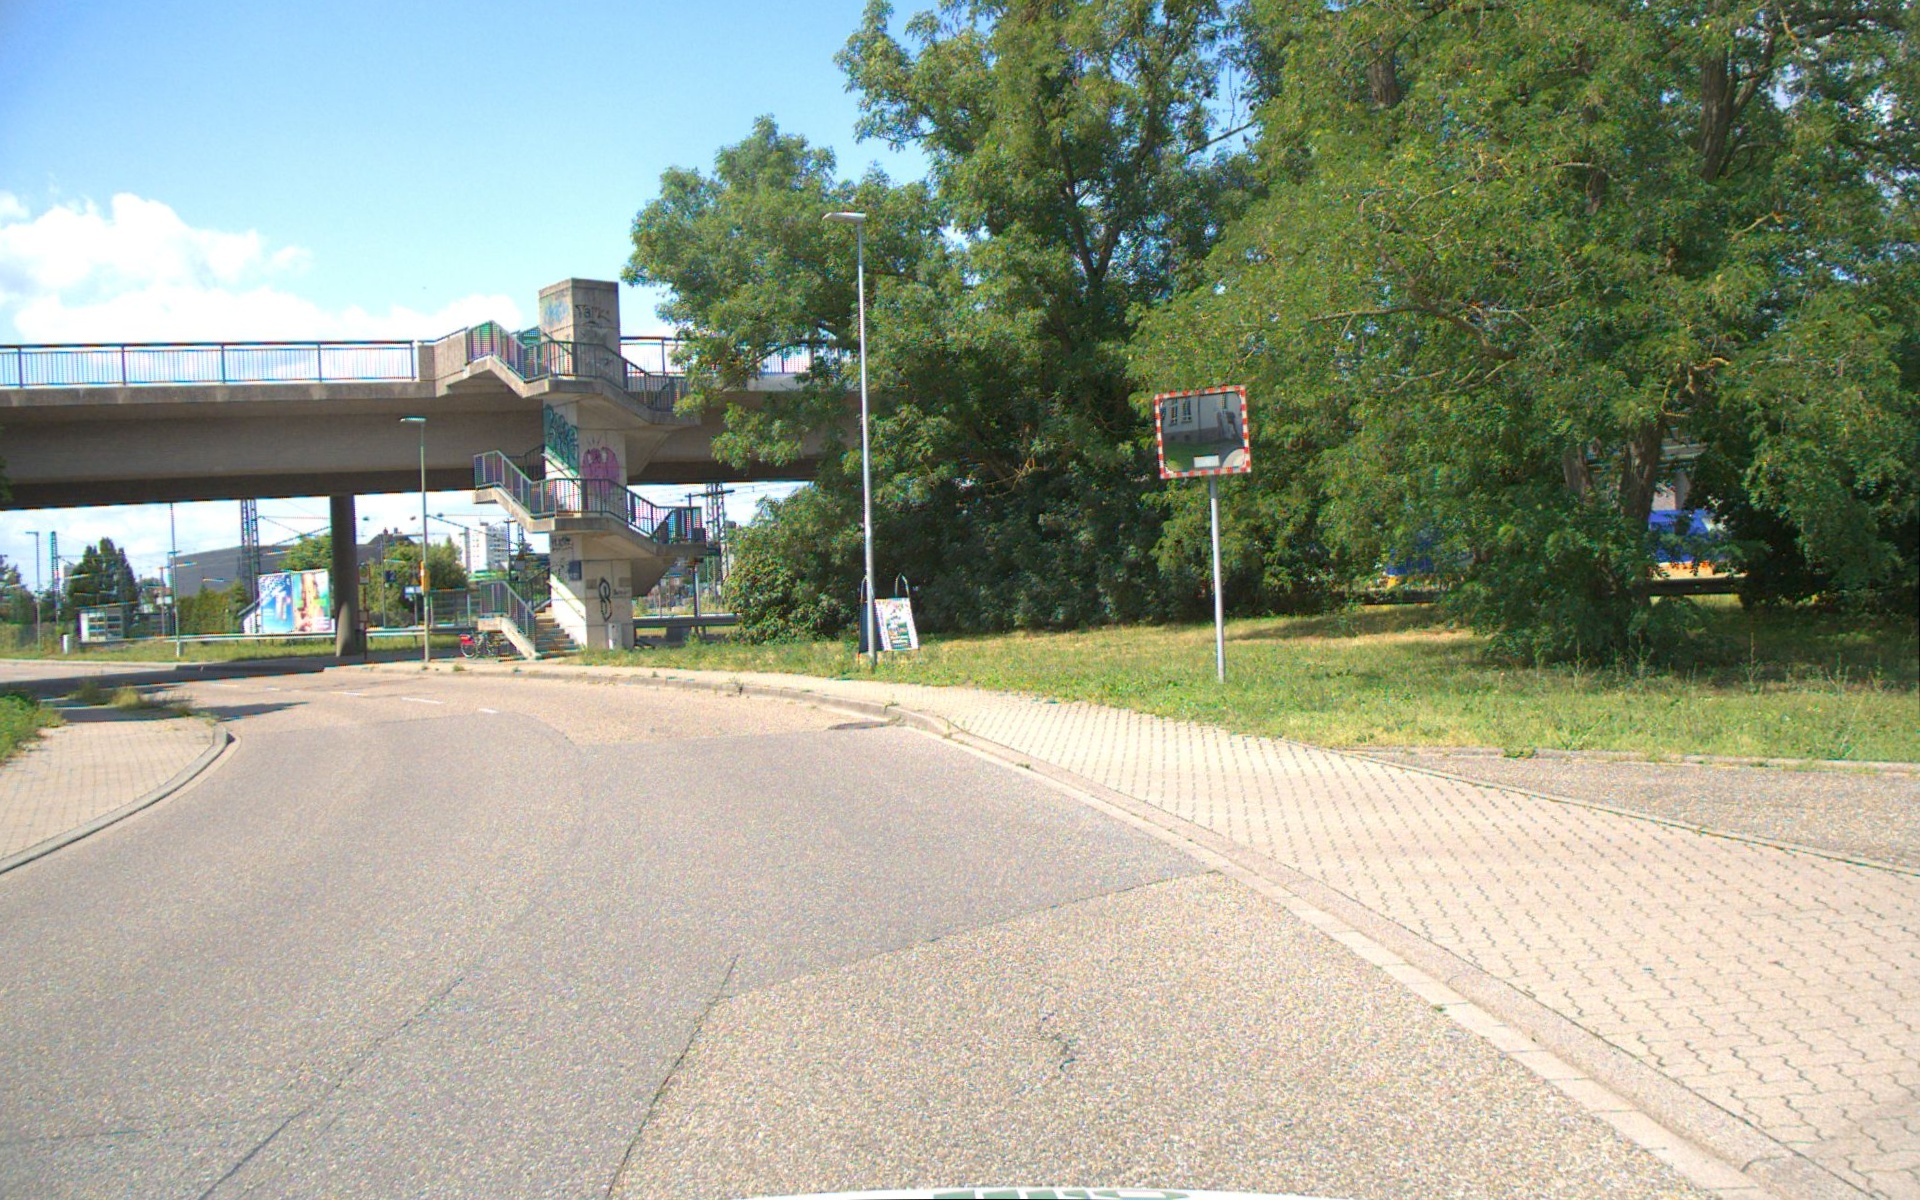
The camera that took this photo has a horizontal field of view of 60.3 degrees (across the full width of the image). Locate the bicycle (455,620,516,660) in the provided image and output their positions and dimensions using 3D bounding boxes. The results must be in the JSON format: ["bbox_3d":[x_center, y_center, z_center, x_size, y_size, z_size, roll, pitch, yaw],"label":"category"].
[{"bbox_3d":[-14.313,1.207,49.830,2.151,1.127,0.641,-3,1,41],"label":"bicycle"}]
